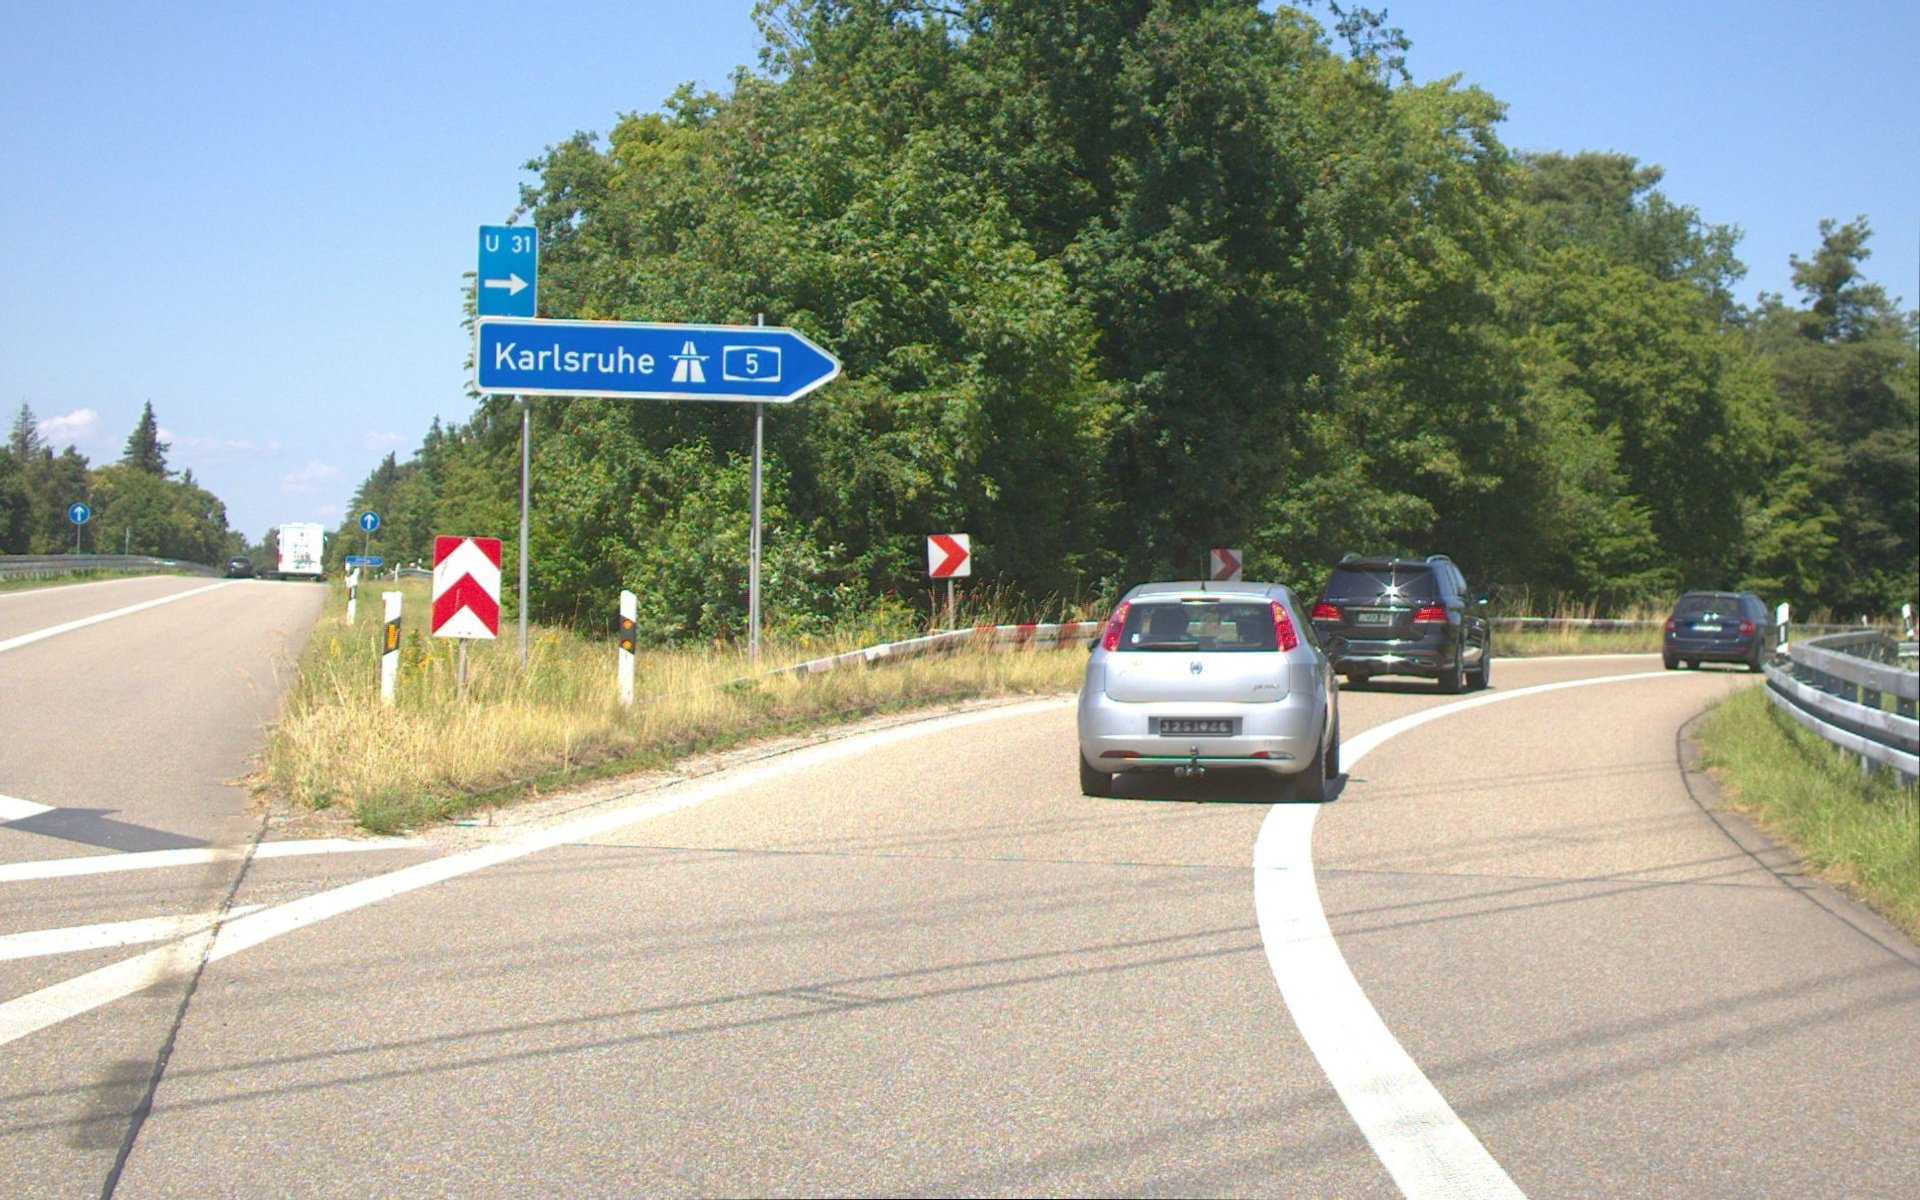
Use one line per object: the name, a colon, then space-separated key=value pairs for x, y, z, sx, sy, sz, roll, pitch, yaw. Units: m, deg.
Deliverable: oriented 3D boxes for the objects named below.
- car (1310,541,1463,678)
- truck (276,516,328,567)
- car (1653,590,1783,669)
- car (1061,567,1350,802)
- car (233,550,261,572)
car: x=5.610 y=0.109 z=44.938 sx=1.641 sy=1.648 sz=3.572 roll=3 pitch=1 yaw=11
truck: x=-35.262 y=-3.130 z=184.385 sx=2.617 sy=2.633 sz=7.669 roll=0 pitch=1 yaw=-10
car: x=13.878 y=0.534 z=62.827 sx=1.642 sy=1.338 sz=3.569 roll=3 pitch=1 yaw=23
car: x=1.803 y=0.545 z=24.335 sx=1.641 sy=1.463 sz=3.417 roll=3 pitch=1 yaw=10
car: x=-48.966 y=-2.682 z=236.143 sx=1.712 sy=1.466 sz=3.575 roll=3 pitch=1 yaw=-10
